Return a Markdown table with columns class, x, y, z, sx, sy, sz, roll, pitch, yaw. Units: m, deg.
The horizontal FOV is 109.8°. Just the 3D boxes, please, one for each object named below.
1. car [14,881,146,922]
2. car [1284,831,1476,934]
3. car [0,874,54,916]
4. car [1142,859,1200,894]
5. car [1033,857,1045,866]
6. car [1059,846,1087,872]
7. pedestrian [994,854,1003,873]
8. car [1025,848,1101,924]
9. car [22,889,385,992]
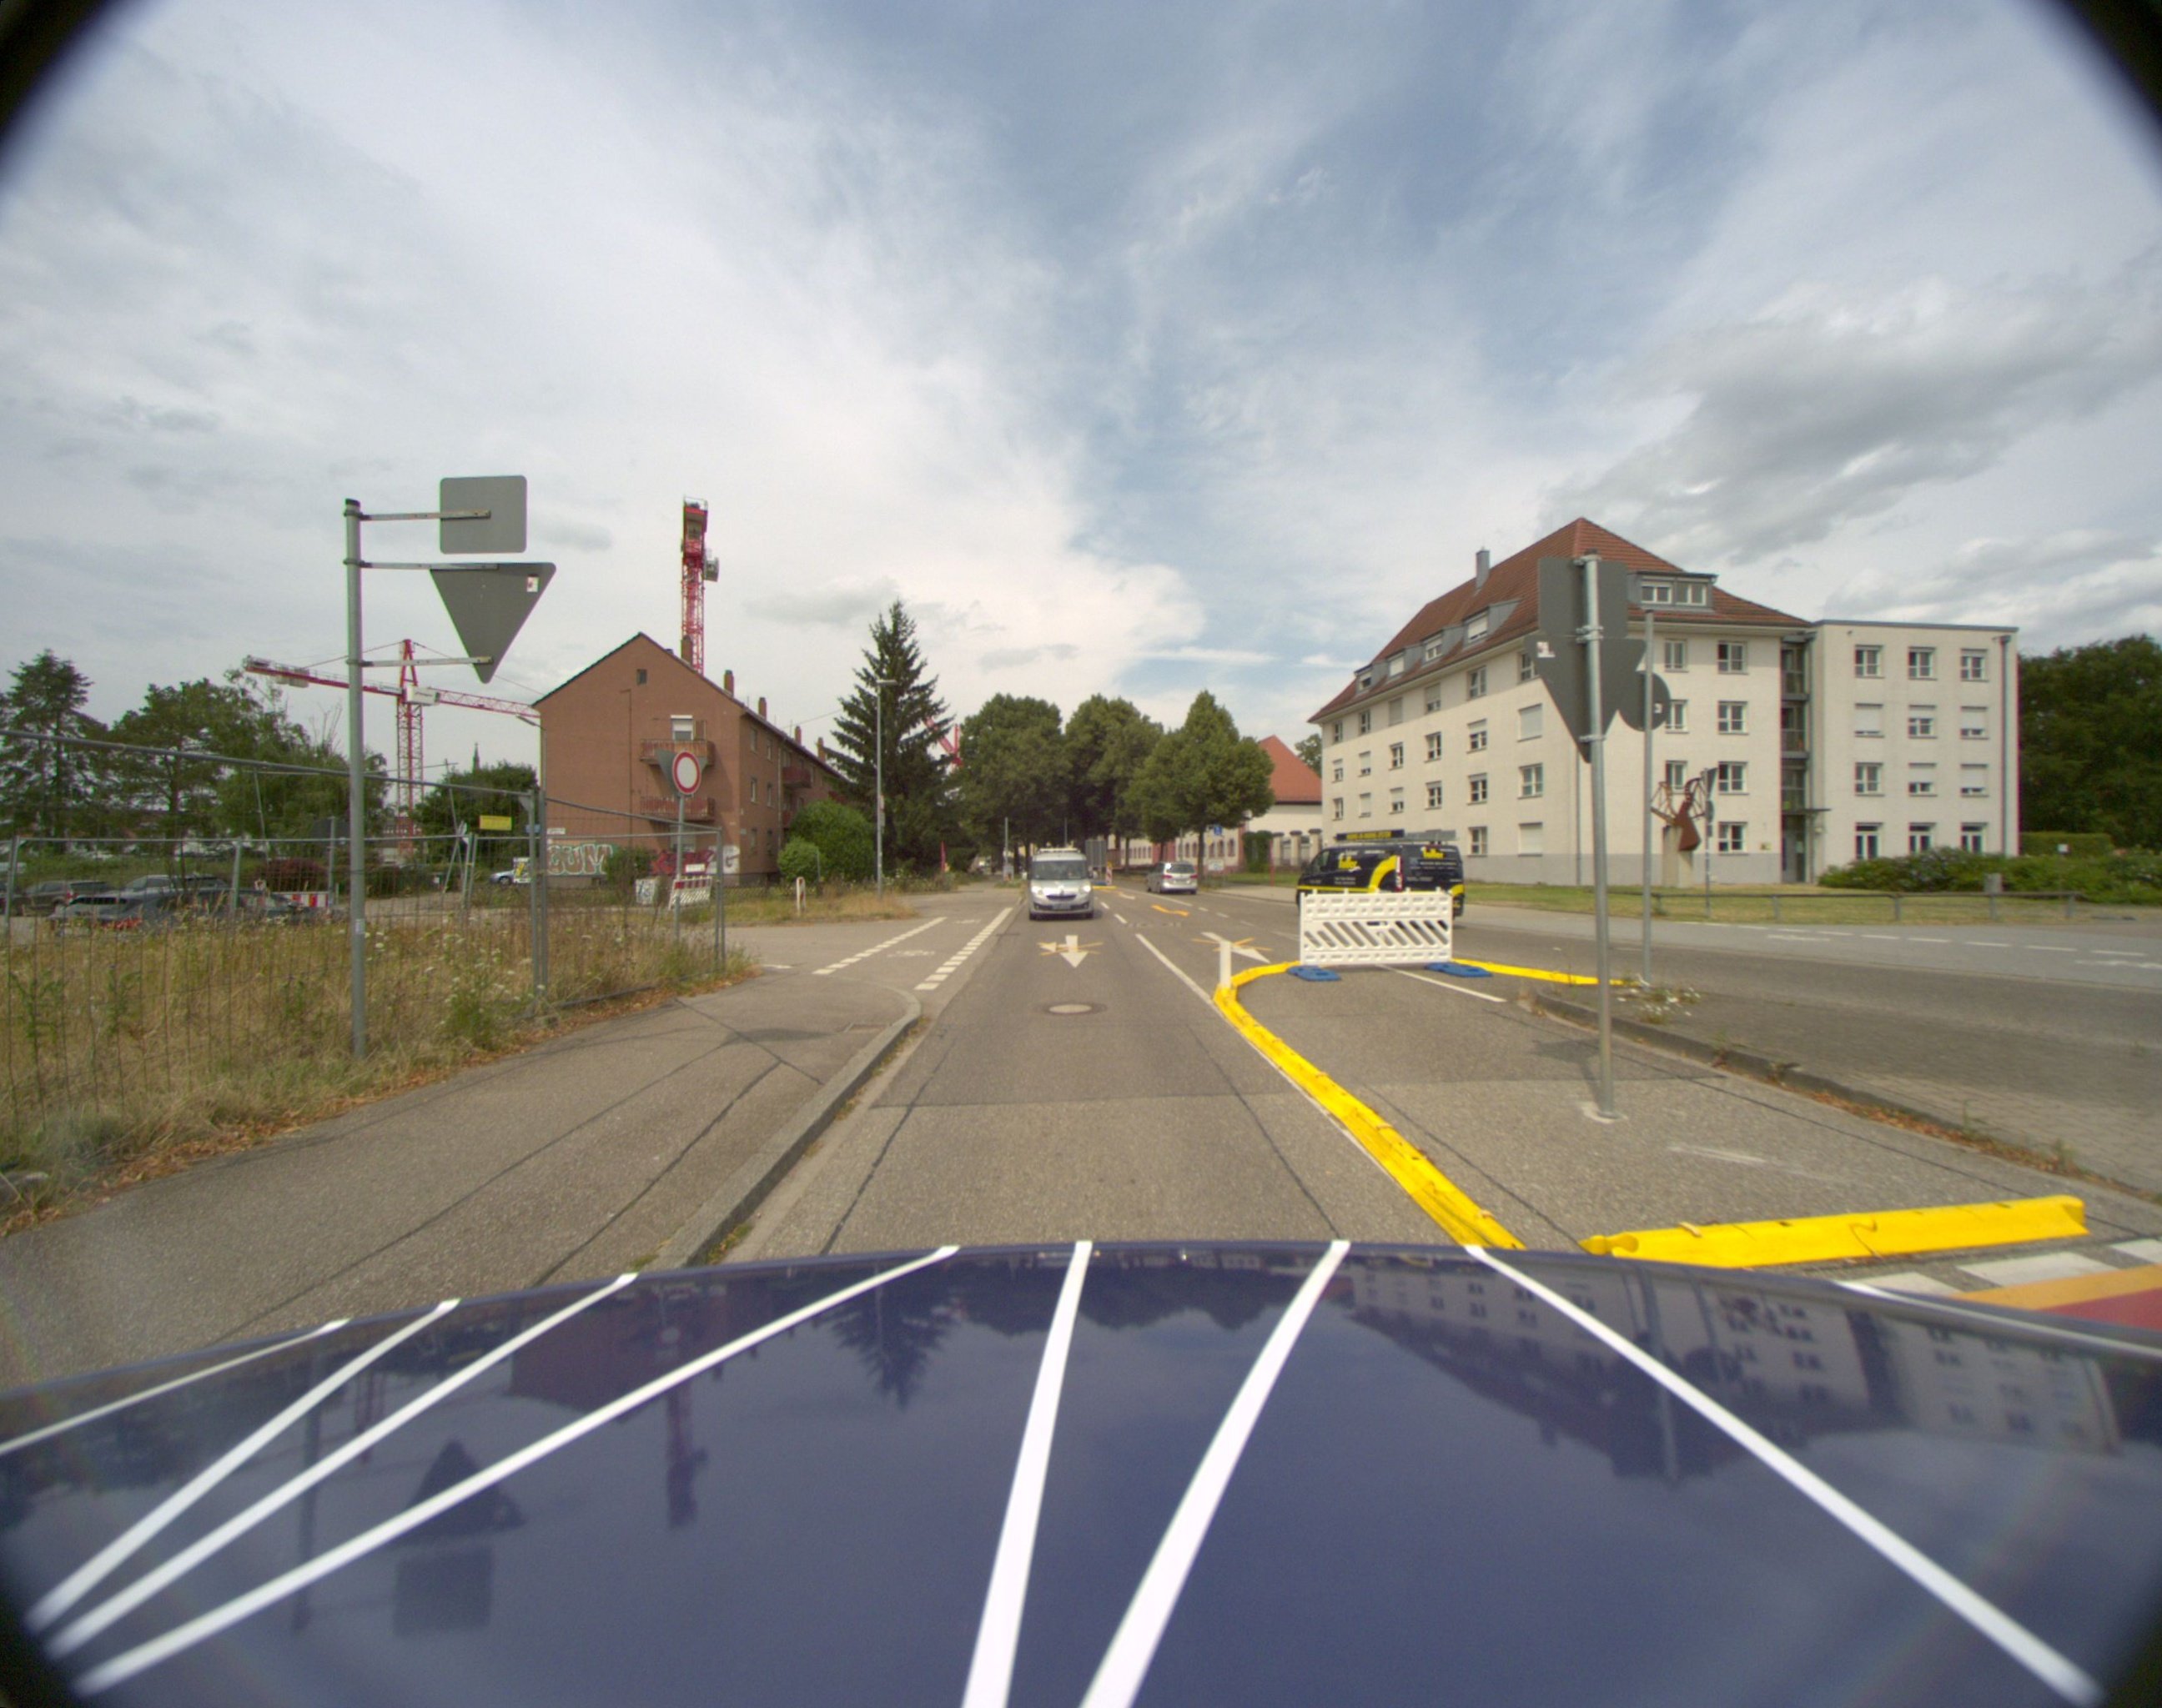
| class | x | y | z | sx | sy | sz | roll | pitch | yaw |
| --- | --- | --- | --- | --- | --- | --- | --- | --- | --- |
| car | -41.680 | 1.946 | 31.656 | 4.006 | 1.593 | 1.804 | -1 | 0 | 13 |
| car | 7.315 | 0.641 | 19.301 | 2.001 | 2.259 | 5.155 | -1 | 0 | -12 |
| car | -46.720 | 1.752 | 32.464 | 4.006 | 1.739 | 1.859 | -1 | 0 | 12 |
| car | 4.493 | 1.104 | 38.667 | 1.801 | 1.613 | 4.745 | -1 | 0 | -8 |
| car | -6.717 | 1.232 | 120.970 | 1.677 | 1.402 | 3.918 | -1 | 0 | -5 |
| car | -0.947 | 0.515 | 82.100 | 2.071 | 2.670 | 5.965 | -1 | 0 | -9 |
| pedestrian | -8.527 | 0.973 | 78.268 | 0.856 | 2.002 | 0.731 | -1 | 0 | -11 |
| car | -0.620 | 0.832 | 21.961 | 1.810 | 1.936 | 4.582 | -1 | 0 | -6 |
| car | -16.181 | 1.509 | 14.434 | 1.765 | 1.465 | 4.261 | -1 | 0 | 5 |
